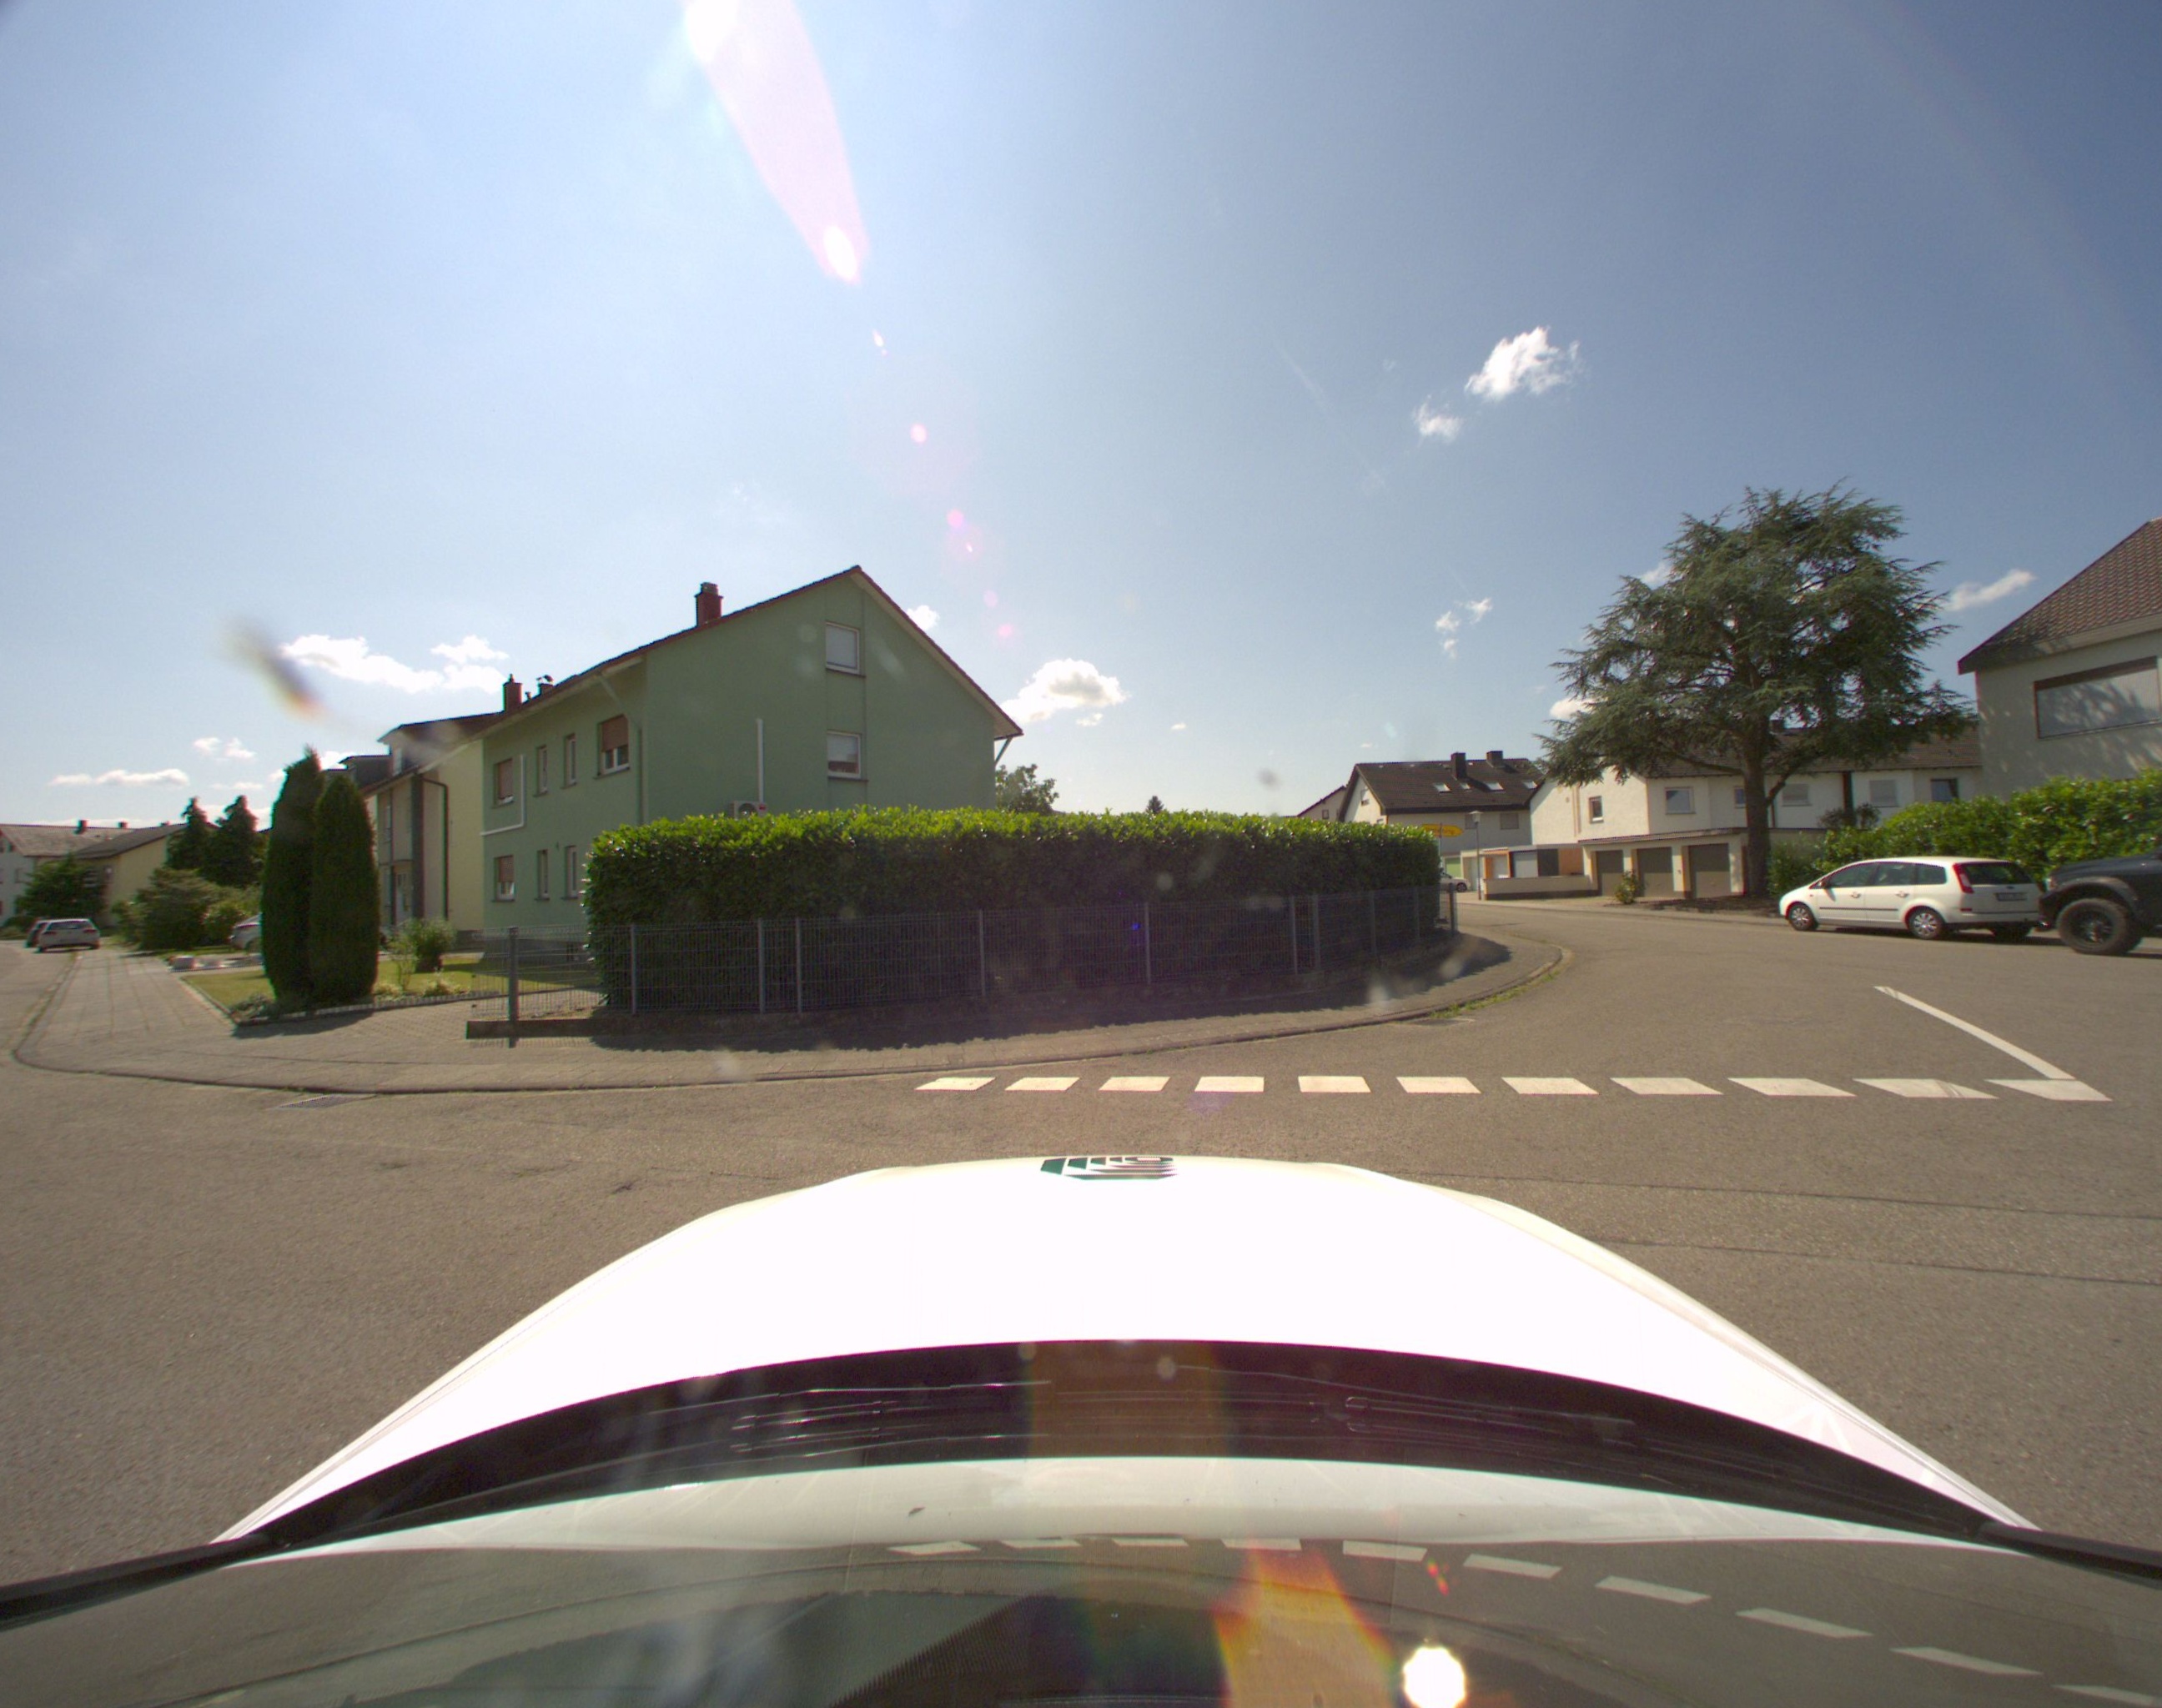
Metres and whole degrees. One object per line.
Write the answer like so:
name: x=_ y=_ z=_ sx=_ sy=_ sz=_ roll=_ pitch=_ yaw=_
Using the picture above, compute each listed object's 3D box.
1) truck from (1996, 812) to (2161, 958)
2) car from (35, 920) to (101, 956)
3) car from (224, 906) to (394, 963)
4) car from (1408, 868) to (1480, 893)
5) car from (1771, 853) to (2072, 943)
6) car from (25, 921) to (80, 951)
truck: x=16.095 y=0.432 z=10.376 sx=2.358 sy=2.014 sz=5.706 roll=2 pitch=-2 yaw=-2
car: x=-47.866 y=3.907 z=38.466 sx=3.948 sy=1.495 sz=1.825 roll=-3 pitch=-2 yaw=37
car: x=-25.702 y=2.610 z=27.216 sx=1.751 sy=1.510 sz=3.951 roll=-4 pitch=-2 yaw=40
car: x=22.361 y=1.614 z=50.270 sx=3.587 sy=1.409 sz=1.784 roll=-2 pitch=-2 yaw=0
car: x=16.835 y=0.849 z=16.680 sx=1.793 sy=1.563 sz=4.140 roll=-2 pitch=-2 yaw=-2
car: x=-58.269 y=4.597 z=46.134 sx=3.948 sy=1.495 sz=1.825 roll=-3 pitch=-2 yaw=37
